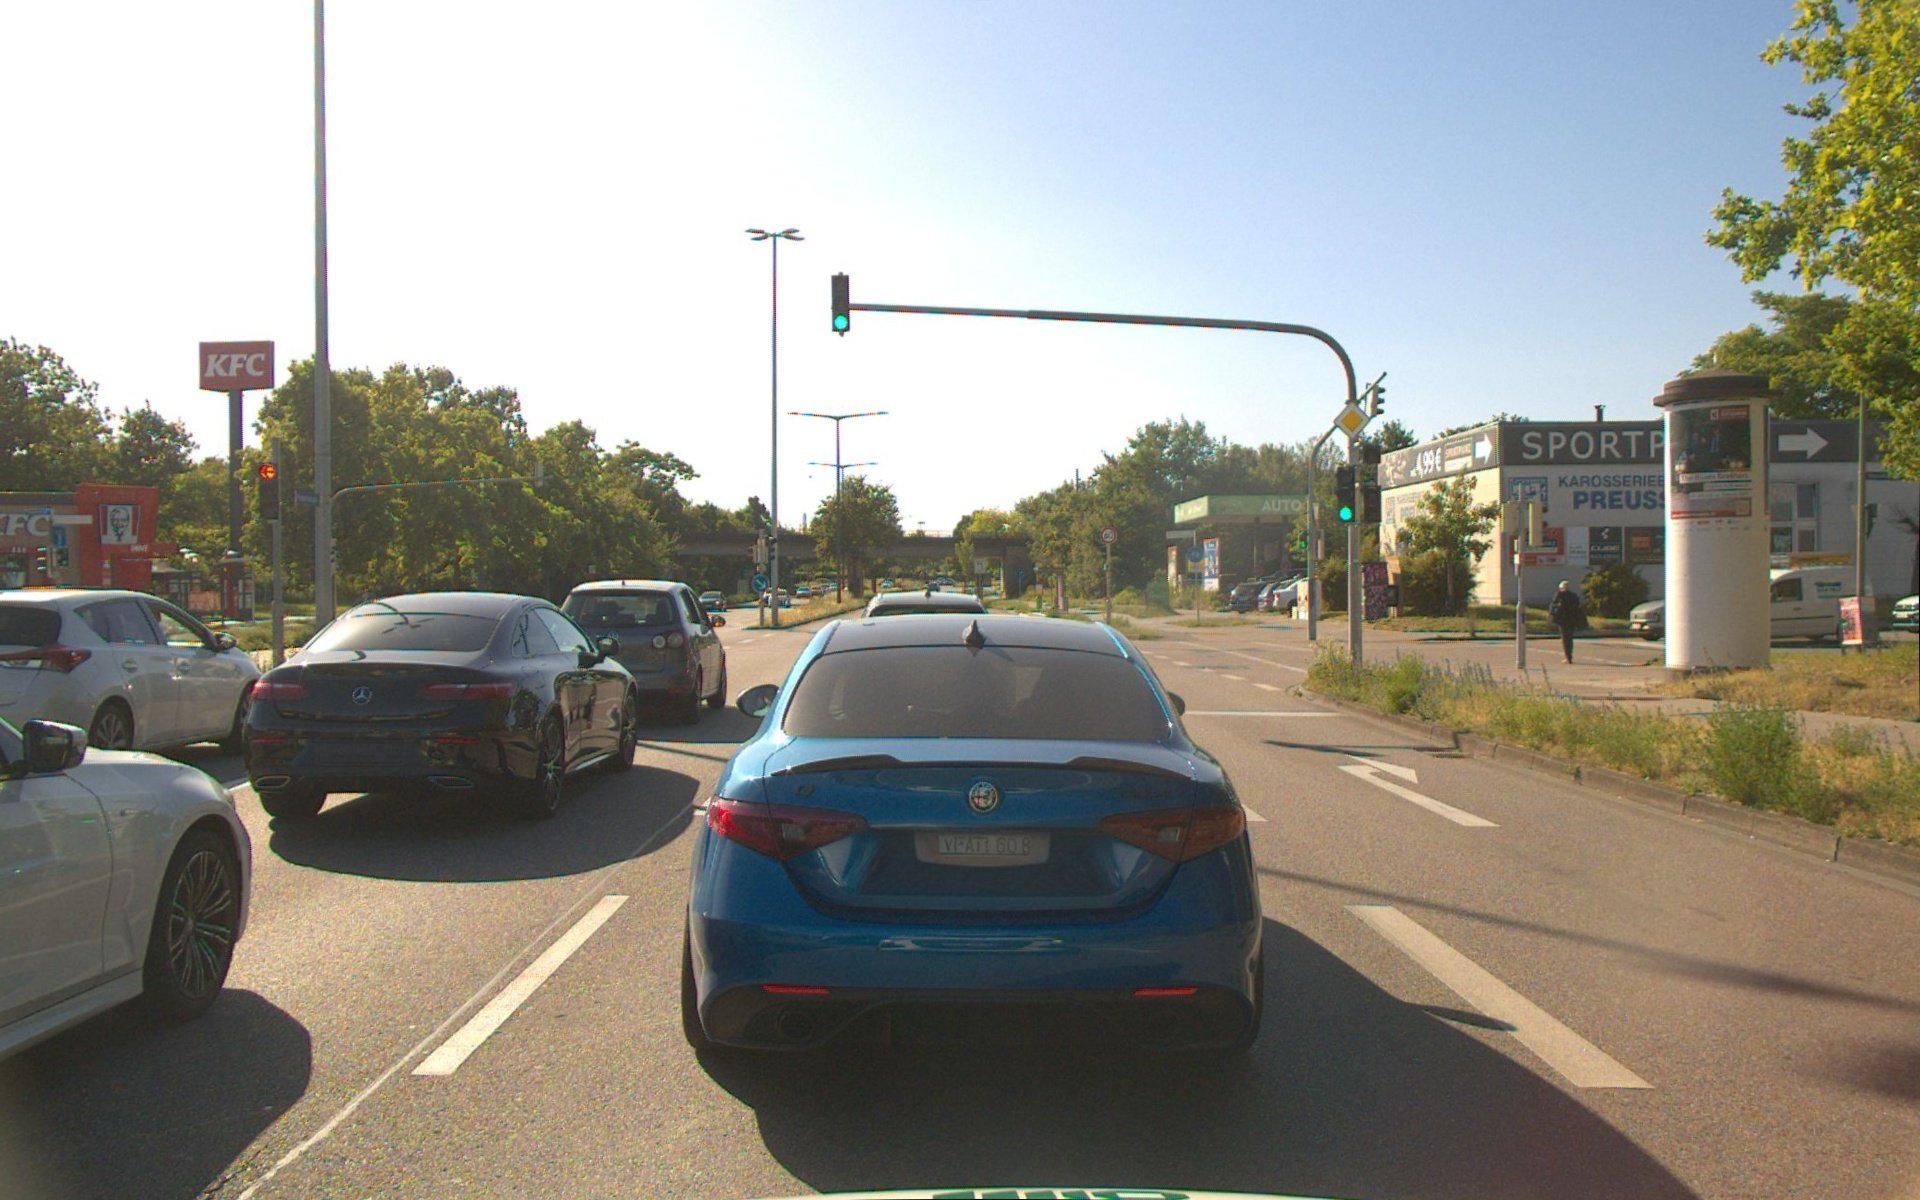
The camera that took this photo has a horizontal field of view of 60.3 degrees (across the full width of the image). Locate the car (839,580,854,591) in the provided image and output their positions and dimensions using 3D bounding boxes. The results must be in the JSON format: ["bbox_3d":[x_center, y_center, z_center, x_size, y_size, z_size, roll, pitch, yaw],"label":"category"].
[{"bbox_3d":[-16.223,-2.063,236.565,1.723,1.516,4.477,-2,0,-1],"label":"car"}]

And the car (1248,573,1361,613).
[{"bbox_3d":[14.630,-0.300,70.317,4.397,1.479,1.858,-2,0,1],"label":"car"}]

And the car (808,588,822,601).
[{"bbox_3d":[-19.202,-0.721,219.523,1.577,1.675,3.462,1,0,-1],"label":"car"}]

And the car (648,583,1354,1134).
[{"bbox_3d":[0.050,0.701,6.595,1.857,1.443,4.401,1,0,-2],"label":"car"}]

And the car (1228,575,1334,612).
[{"bbox_3d":[14.401,-0.291,74.364,4.397,1.479,1.858,-2,0,1],"label":"car"}]

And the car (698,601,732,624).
[{"bbox_3d":[-17.639,0.888,119.271,1.723,1.516,4.477,-2,0,-1],"label":"car"}]

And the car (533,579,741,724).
[{"bbox_3d":[-3.723,0.555,19.770,1.723,1.516,4.401,1,0,-2],"label":"car"}]

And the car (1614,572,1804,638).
[{"bbox_3d":[19.597,0.108,43.366,4.201,1.576,1.764,-1,2,-2],"label":"car"}]

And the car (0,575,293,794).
[{"bbox_3d":[-7.138,0.584,13.549,1.723,1.516,4.195,1,0,-2],"label":"car"}]

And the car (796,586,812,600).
[{"bbox_3d":[-18.991,-0.827,201.264,1.583,1.586,3.357,1,0,-1],"label":"car"}]

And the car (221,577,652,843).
[{"bbox_3d":[-3.449,0.649,11.833,1.760,1.516,4.474,1,0,-2],"label":"car"}]

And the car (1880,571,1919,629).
[{"bbox_3d":[26.792,-0.064,43.721,3.960,1.516,1.782,-2,0,-3],"label":"car"}]

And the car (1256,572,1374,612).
[{"bbox_3d":[14.486,-0.323,67.562,4.397,1.479,1.858,-2,0,1],"label":"car"}]

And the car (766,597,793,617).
[{"bbox_3d":[-14.718,0.570,135.004,1.723,1.516,3.836,-2,0,-1],"label":"car"}]

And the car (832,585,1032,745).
[{"bbox_3d":[-0.326,0.611,17.390,1.813,1.443,4.401,1,0,-2],"label":"car"}]

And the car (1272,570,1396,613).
[{"bbox_3d":[14.610,-0.323,64.785,4.397,1.479,1.858,-2,0,1],"label":"car"}]

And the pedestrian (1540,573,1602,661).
[{"bbox_3d":[12.622,0.348,34.182,0.906,1.765,0.938,1,-1,-1],"label":"pedestrian"}]

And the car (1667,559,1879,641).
[{"bbox_3d":[19.626,-0.028,40.030,4.293,1.833,1.764,-1,2,-2],"label":"car"}]

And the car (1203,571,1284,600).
[{"bbox_3d":[16.725,-0.852,97.572,4.457,1.516,1.765,-2,0,1],"label":"car"}]

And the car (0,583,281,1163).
[{"bbox_3d":[-3.361,0.697,3.950,1.749,1.516,4.401,1,0,-2],"label":"car"}]
